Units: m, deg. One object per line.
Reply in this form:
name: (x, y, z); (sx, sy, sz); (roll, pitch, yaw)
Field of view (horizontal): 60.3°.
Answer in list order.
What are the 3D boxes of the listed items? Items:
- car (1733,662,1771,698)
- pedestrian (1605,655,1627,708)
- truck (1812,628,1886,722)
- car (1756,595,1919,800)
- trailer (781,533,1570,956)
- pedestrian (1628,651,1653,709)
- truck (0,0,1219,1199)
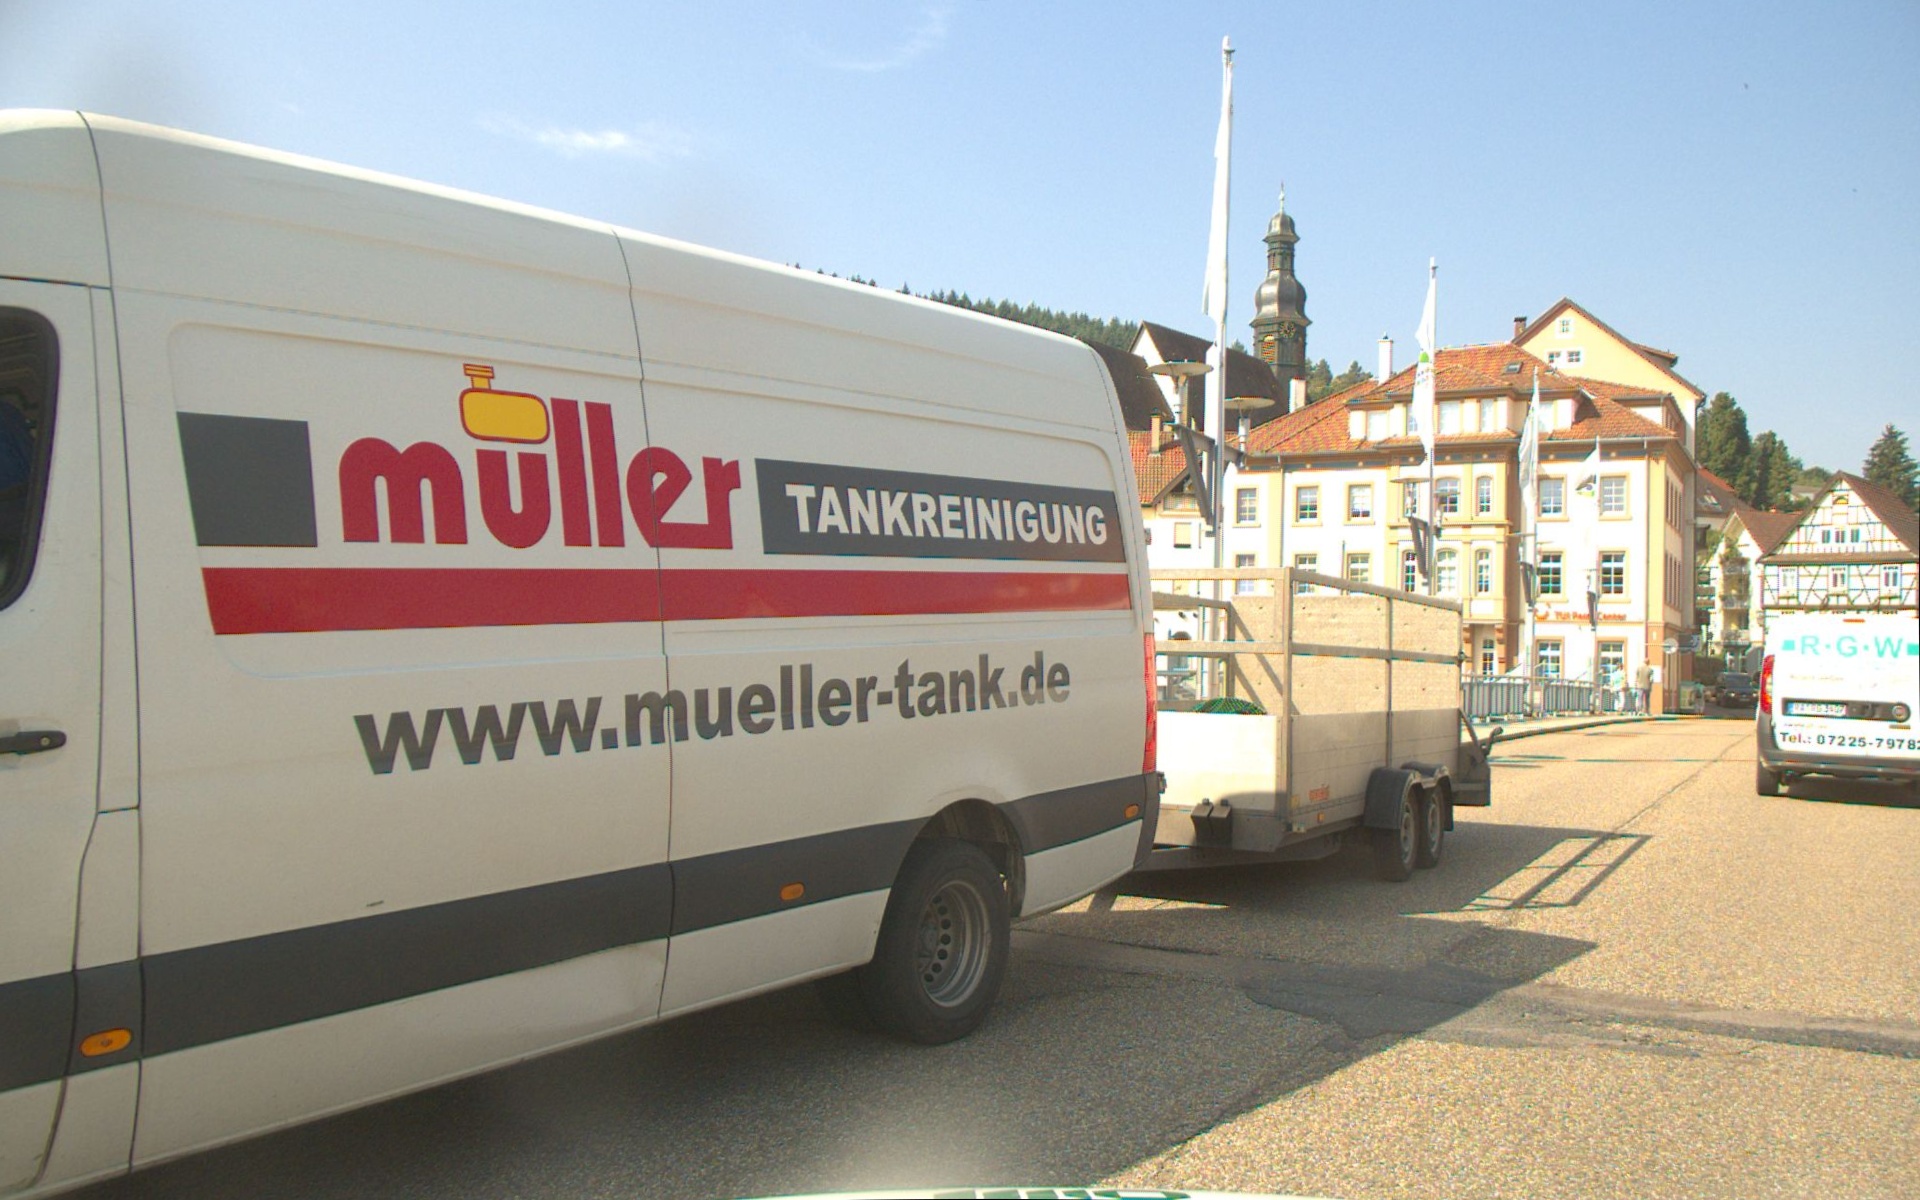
car: (43.074, 4.327, 89.923); (1.742, 1.824, 4.691); (1, -1, 27)
pedestrian: (20.906, 2.594, 52.687); (0.572, 1.638, 0.536); (1, -2, 27)
truck: (26.571, 2.254, 49.519); (1.825, 2.631, 4.254); (1, -2, 28)
car: (9.775, 1.040, 17.958); (1.809, 1.940, 4.307); (1, -2, 29)
trailer: (1.715, 0.706, 10.332); (2.566, 1.860, 5.616); (0, -2, 36)
pedestrian: (21.553, 2.518, 52.369); (0.603, 1.793, 0.862); (1, -2, 28)
truck: (-1.757, 0.124, 4.922); (2.069, 2.746, 7.107); (0, -1, 35)
